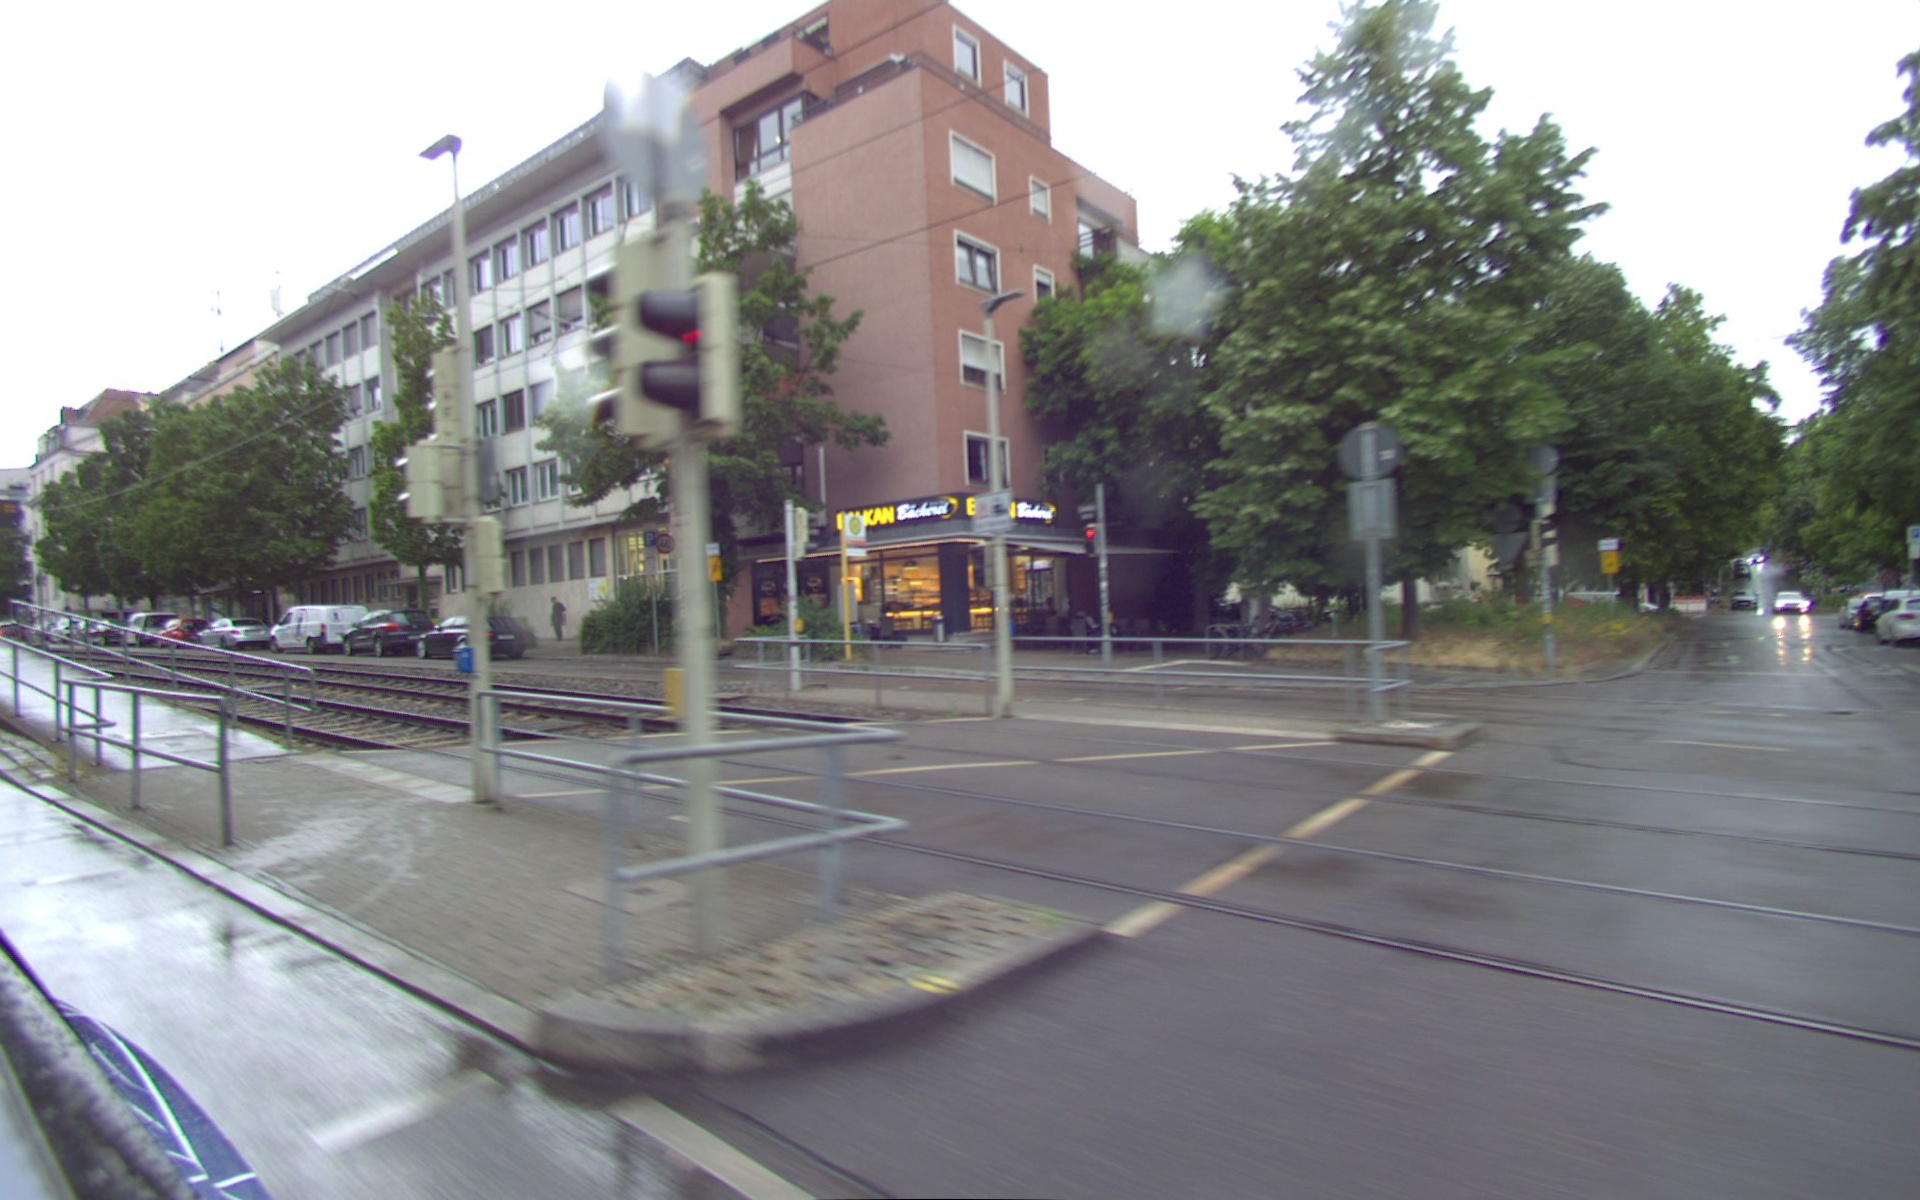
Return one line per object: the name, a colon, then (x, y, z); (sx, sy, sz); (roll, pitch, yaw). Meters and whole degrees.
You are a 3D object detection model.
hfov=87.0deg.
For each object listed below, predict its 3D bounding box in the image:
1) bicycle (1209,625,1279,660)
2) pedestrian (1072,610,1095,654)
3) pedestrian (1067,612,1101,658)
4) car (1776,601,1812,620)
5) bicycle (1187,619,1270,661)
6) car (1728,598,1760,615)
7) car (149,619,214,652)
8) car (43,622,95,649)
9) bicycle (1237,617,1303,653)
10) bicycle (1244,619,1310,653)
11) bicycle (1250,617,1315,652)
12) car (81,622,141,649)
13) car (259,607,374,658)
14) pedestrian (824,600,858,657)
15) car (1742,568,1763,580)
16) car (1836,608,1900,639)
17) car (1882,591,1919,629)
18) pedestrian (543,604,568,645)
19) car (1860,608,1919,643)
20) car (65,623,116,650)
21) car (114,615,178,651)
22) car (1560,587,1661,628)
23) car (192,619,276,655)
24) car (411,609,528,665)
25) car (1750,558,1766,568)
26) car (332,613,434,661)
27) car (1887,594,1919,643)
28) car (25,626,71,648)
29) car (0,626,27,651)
bicycle: (6.973, 1.036, 24.907); (1.644, 0.822, 0.336); (-1, -1, 39)
pedestrian: (3.424, 0.891, 28.038); (0.601, 1.187, 0.677); (-1, -1, 6)
pedestrian: (3.248, 0.906, 26.494); (0.608, 1.187, 0.668); (-2, -1, 44)
car: (62.474, 0.802, 75.773); (1.998, 1.384, 3.946); (-1, -1, 40)
bicycle: (6.398, 0.943, 24.144); (1.871, 0.966, 0.475); (-1, -1, 39)
car: (67.189, 0.539, 86.663); (1.998, 1.384, 3.946); (-1, -1, 40)
car: (-38.608, 1.732, 50.156); (3.798, 1.551, 1.623); (-1, -1, 37)
car: (-56.514, 2.241, 64.166); (4.331, 1.596, 1.642); (-1, -1, 37)
bicycle: (8.053, 0.899, 26.326); (1.646, 0.917, 0.335); (-1, -1, 41)
bicycle: (8.308, 0.939, 26.589); (1.646, 0.849, 0.334); (-1, -1, 41)
bicycle: (8.607, 0.909, 27.021); (1.646, 0.910, 0.335); (-1, -1, 41)
car: (-47.774, 1.989, 56.923); (4.722, 1.451, 1.623); (-1, -1, 37)
car: (-24.988, 1.235, 39.245); (5.245, 1.858, 1.891); (-1, -1, 35)
pedestrian: (-3.449, 0.820, 29.384); (0.817, 1.608, 0.553); (-2, -2, 40)
car: (100.079, -3.245, 127.803); (1.998, 1.384, 3.947); (-1, 2, 40)
car: (43.499, 1.105, 48.589); (2.097, 1.384, 4.388); (-1, -1, 40)
car: (52.516, 0.506, 54.243); (4.444, 2.045, 2.070); (-2, -1, 40)
pedestrian: (-15.483, 0.939, 38.766); (0.583, 1.569, 0.693); (-1, -1, 32)
car: (40.295, 1.071, 43.592); (2.097, 1.384, 4.388); (-1, -1, 40)
car: (-51.546, 2.134, 59.979); (4.018, 1.549, 1.622); (-1, -1, 39)
car: (-43.083, 1.730, 53.553); (4.425, 1.831, 1.658); (-1, -1, 37)
car: (38.098, 0.466, 59.324); (4.855, 2.226, 1.885); (-2, -1, 37)
car: (-32.232, 1.625, 44.864); (4.521, 1.473, 1.677); (-1, -1, 36)
car: (-15.480, 1.143, 31.847); (4.366, 1.636, 1.622); (-1, -1, 39)
car: (134.859, -6.216, 170.988); (1.998, 1.383, 3.948); (-1, 3, 40)
car: (-20.316, 1.273, 35.563); (4.366, 1.548, 1.622); (-1, -1, 39)
car: (28.414, 0.513, 29.366); (1.998, 1.384, 3.946); (-1, -1, 40)
car: (-61.088, 2.486, 67.739); (4.453, 1.386, 1.697); (-1, -1, 40)
car: (-59.129, 2.365, 62.289); (4.521, 1.473, 1.677); (-1, -1, 36)
